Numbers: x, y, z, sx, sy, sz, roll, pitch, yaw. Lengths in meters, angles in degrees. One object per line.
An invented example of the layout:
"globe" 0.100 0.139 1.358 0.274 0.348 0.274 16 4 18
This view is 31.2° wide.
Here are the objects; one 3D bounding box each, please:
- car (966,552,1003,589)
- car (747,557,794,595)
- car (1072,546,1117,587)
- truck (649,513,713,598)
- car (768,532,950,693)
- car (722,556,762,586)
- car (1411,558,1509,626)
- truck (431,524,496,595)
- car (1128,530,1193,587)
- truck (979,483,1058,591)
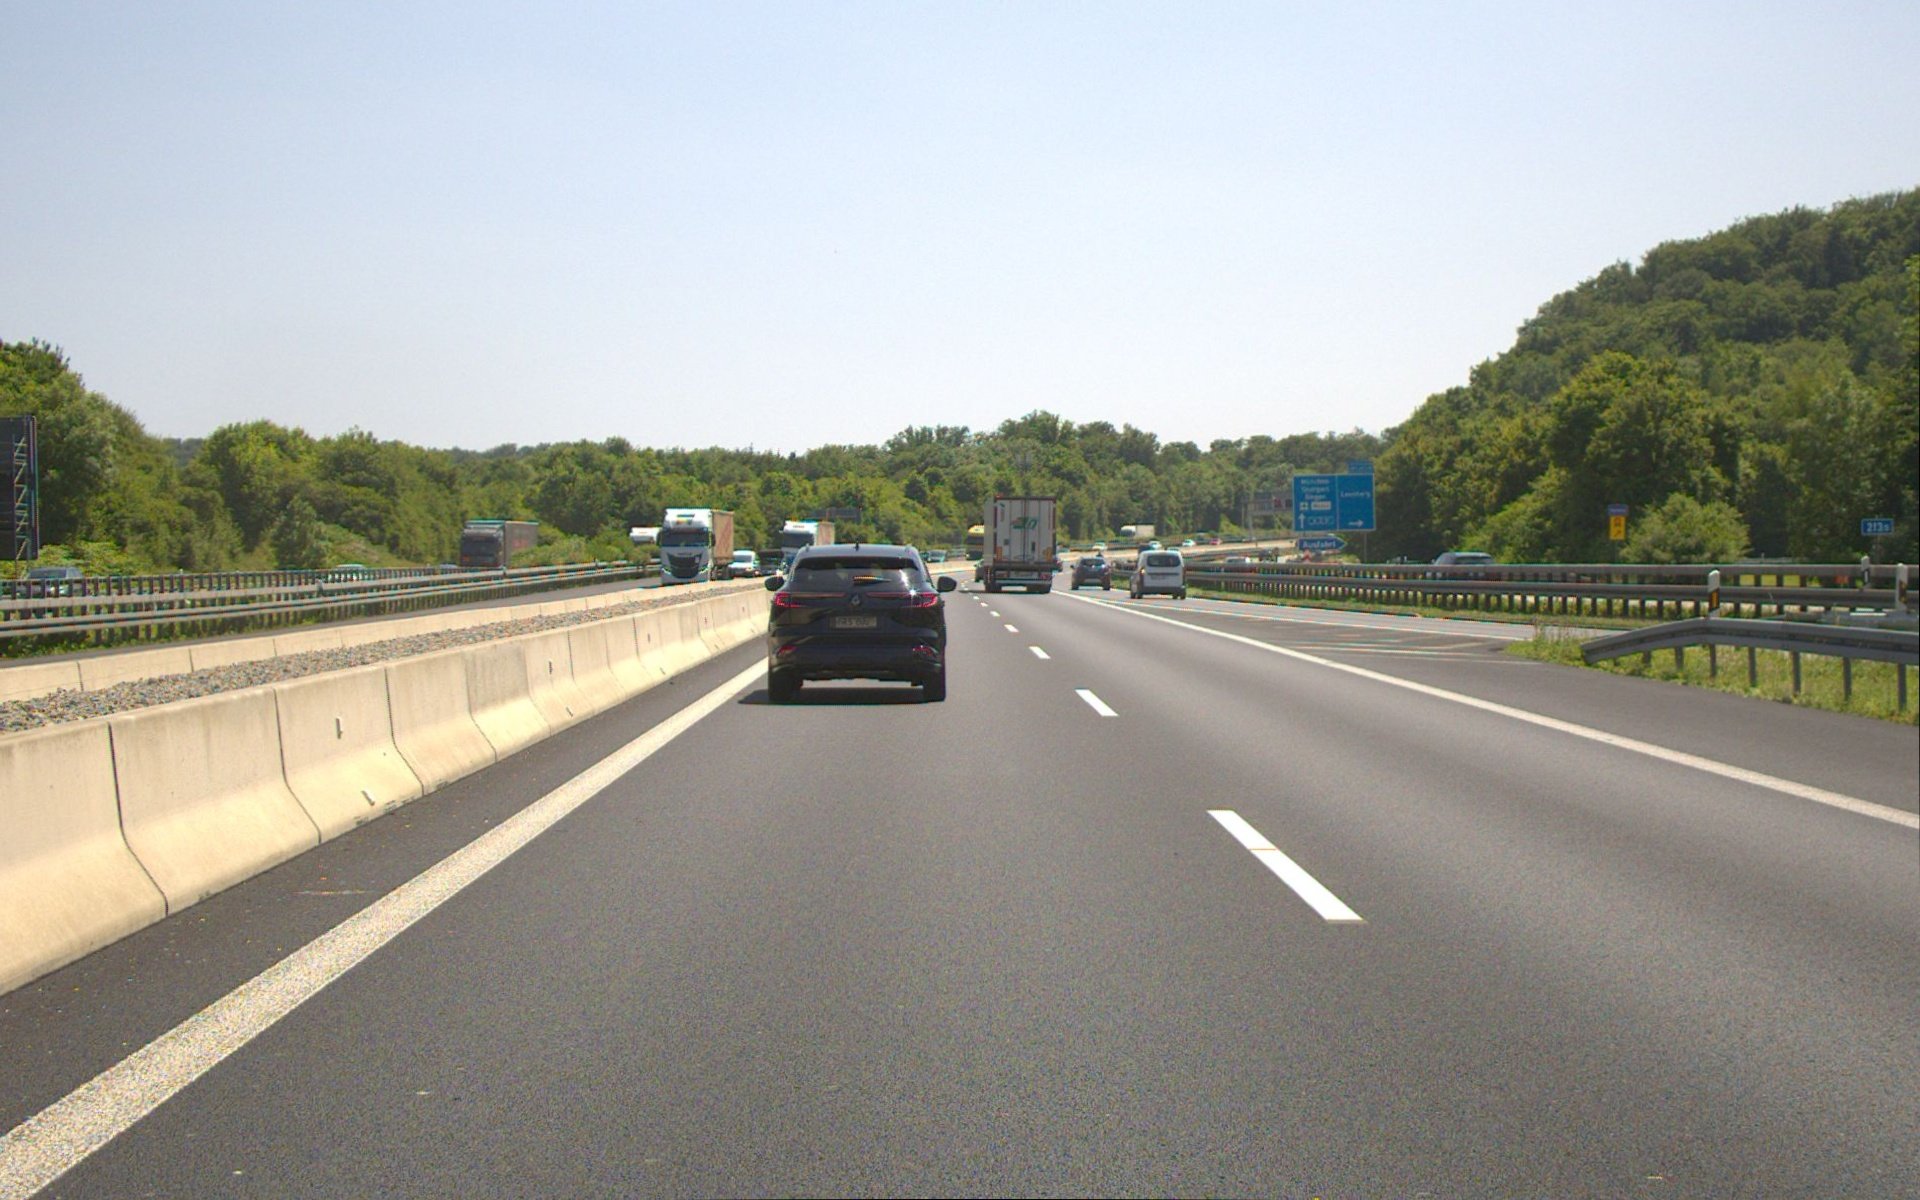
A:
"car" 1.482 -1.780 209.299 2.138 2.209 5.088 1 0 -1
"car" -10.385 -1.325 188.845 1.918 2.007 5.346 -1 1 4
"car" 6.630 -1.651 169.801 1.993 2.007 4.000 1 0 0
"truck" -14.394 -2.292 177.693 2.706 4.273 4.553 1 0 3
"car" -1.106 0.109 36.031 1.779 1.572 4.000 1 0 -3
"car" -13.596 -1.803 214.670 1.742 1.820 4.902 1 0 5
"car" 15.558 -0.266 107.132 1.993 2.007 4.001 -2 1 -7
"truck" -30.415 -2.445 210.807 2.810 4.258 4.997 1 0 5
"car" 7.453 -1.556 128.174 1.993 2.007 4.000 -2 1 -2
"truck" 2.566 -2.622 147.024 3.032 4.403 12.018 1 0 2
